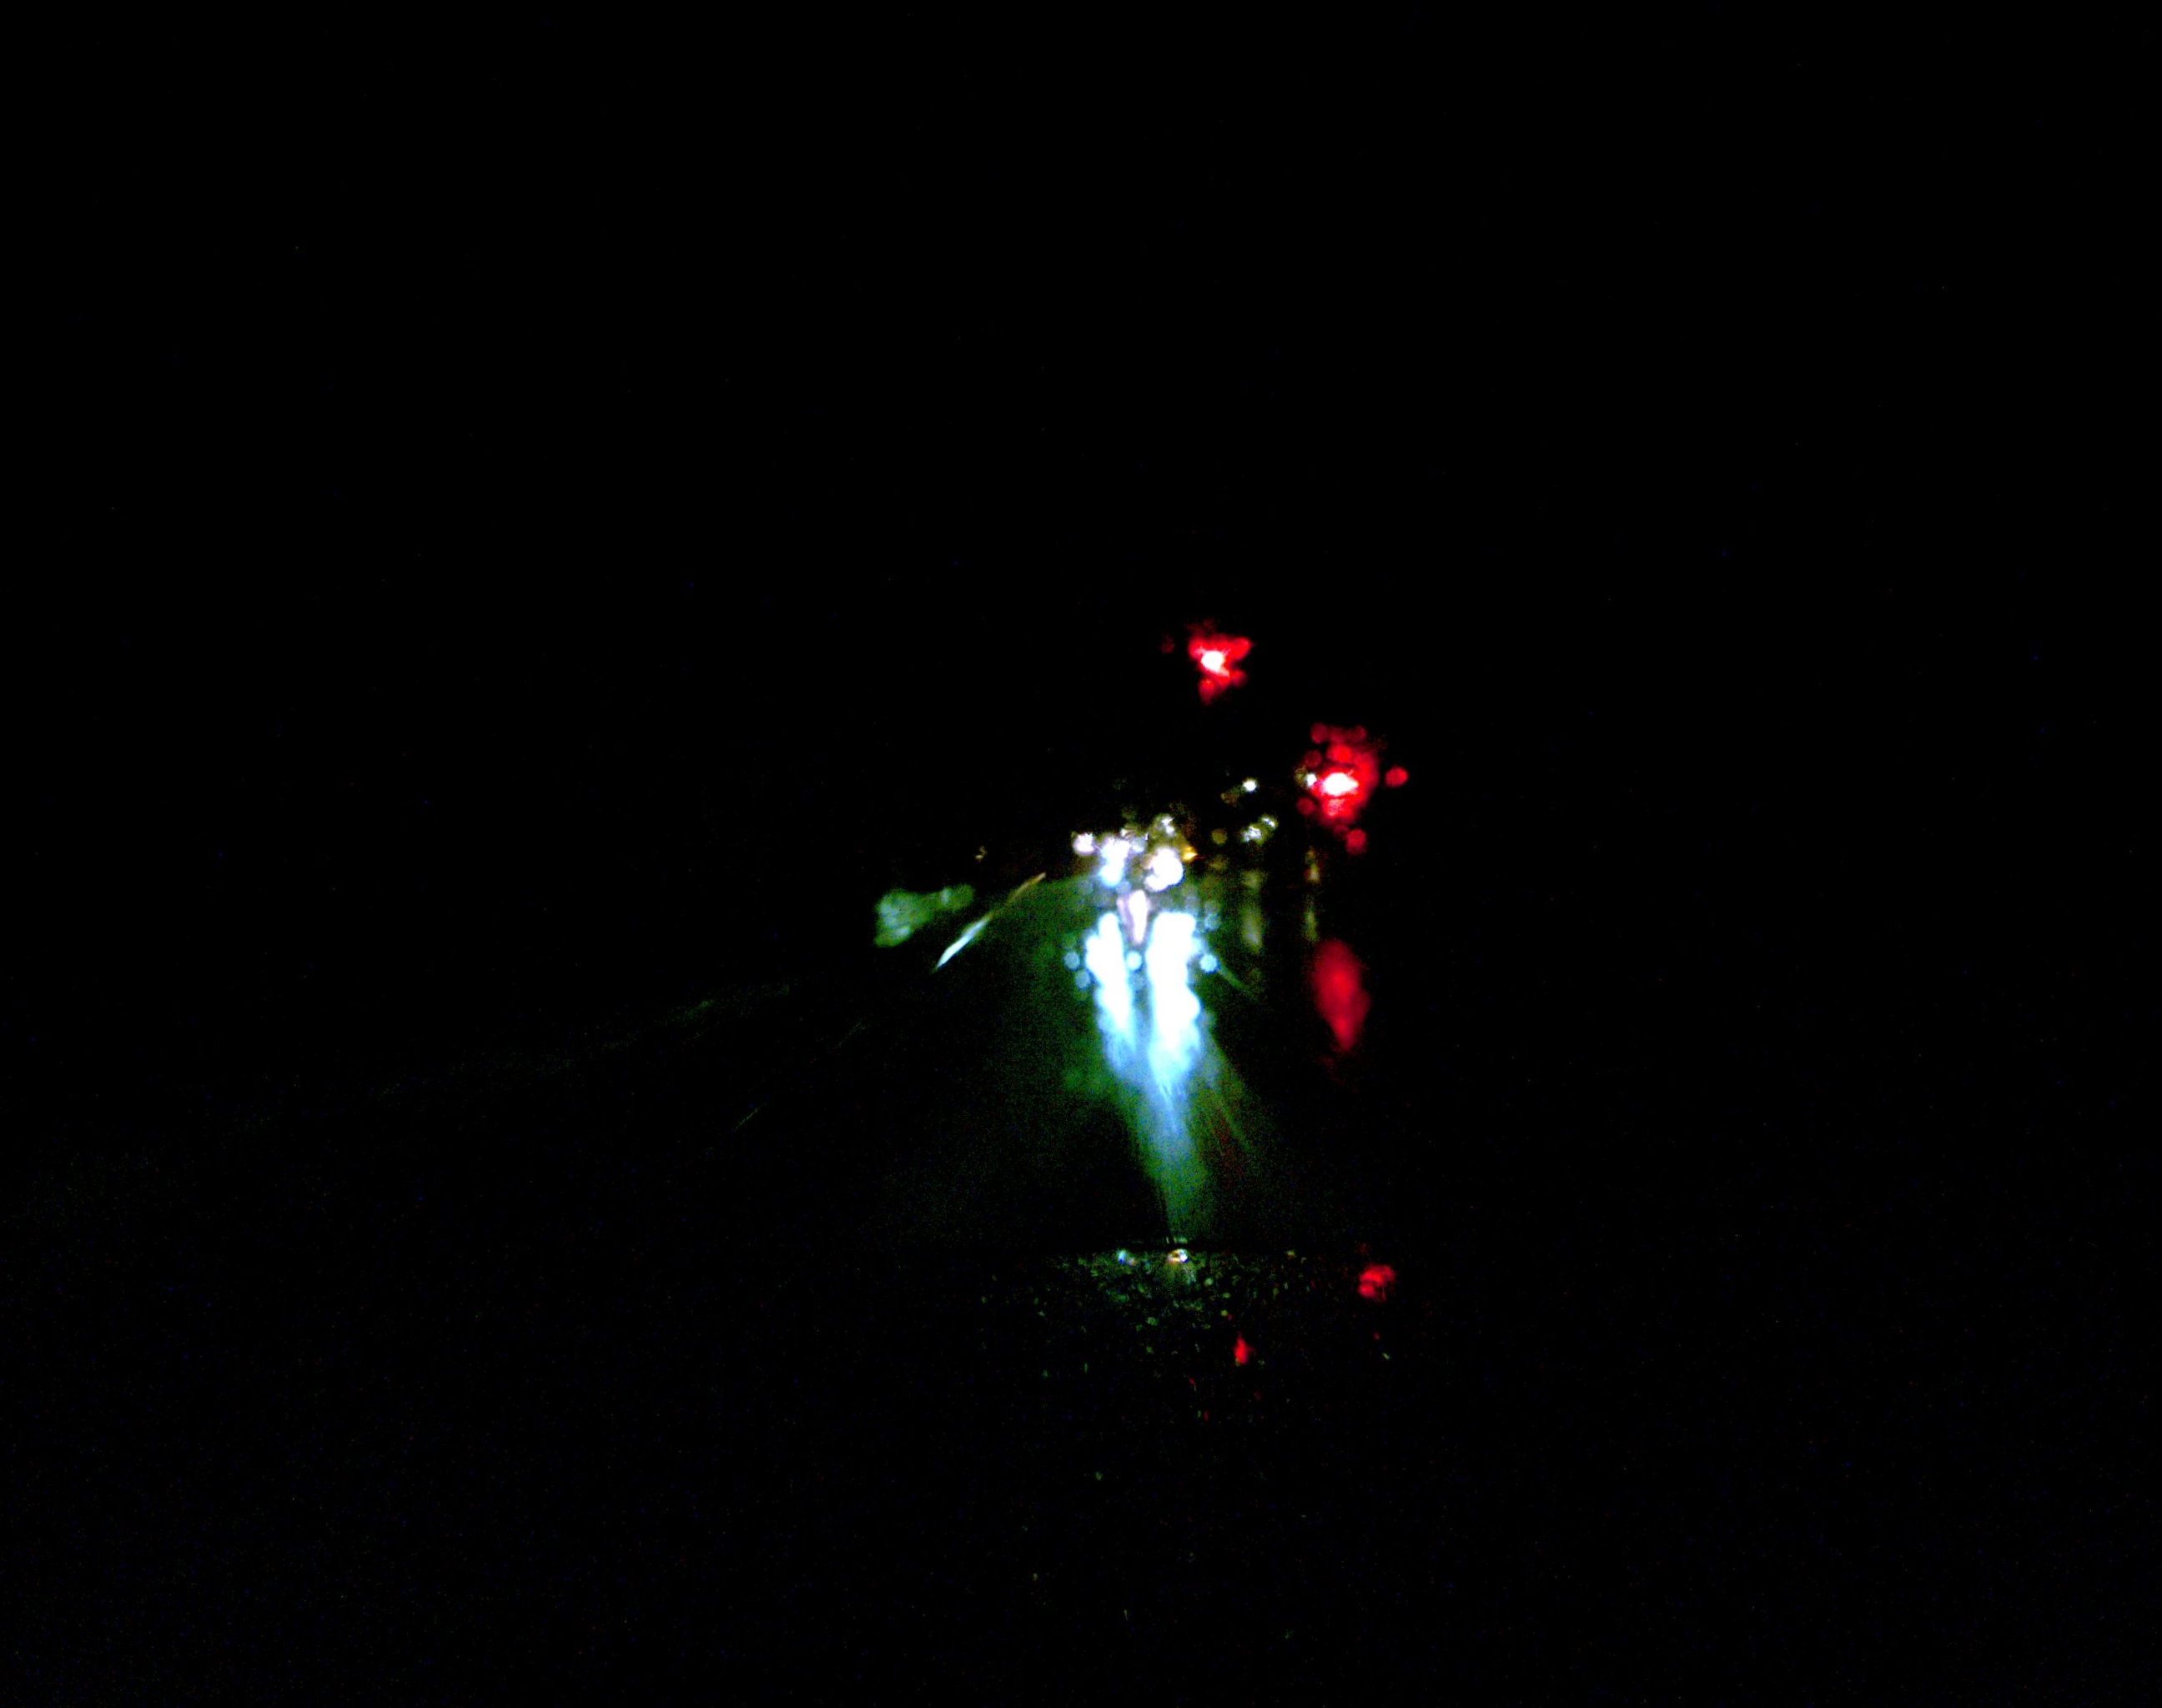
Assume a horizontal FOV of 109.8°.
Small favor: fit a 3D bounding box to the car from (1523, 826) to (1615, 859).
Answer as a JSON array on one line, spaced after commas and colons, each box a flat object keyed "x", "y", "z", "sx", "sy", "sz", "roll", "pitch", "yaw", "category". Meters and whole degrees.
[{"x": 24.880, "y": -0.632, "z": 38.953, "sx": 1.937, "sy": 1.577, "sz": 4.481, "roll": -1, "pitch": 2, "yaw": 2, "category": "car"}]

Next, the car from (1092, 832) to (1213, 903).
[{"x": 2.048, "y": 0.330, "z": 20.513, "sx": 1.890, "sy": 1.678, "sz": 4.346, "roll": -2, "pitch": -1, "yaw": 24, "category": "car"}]

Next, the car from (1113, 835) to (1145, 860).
[{"x": 3.287, "y": -0.424, "z": 52.478, "sx": 1.979, "sy": 1.507, "sz": 4.207, "roll": -2, "pitch": -1, "yaw": 2, "category": "car"}]

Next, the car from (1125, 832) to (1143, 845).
[{"x": 6.291, "y": -1.856, "z": 90.812, "sx": 1.914, "sy": 1.502, "sz": 4.239, "roll": -1, "pitch": 2, "yaw": 0, "category": "car"}]

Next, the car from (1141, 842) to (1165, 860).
[{"x": 6.998, "y": -0.291, "z": 74.238, "sx": 2.062, "sy": 1.668, "sz": 4.139, "roll": -2, "pitch": 1, "yaw": 2, "category": "car"}]

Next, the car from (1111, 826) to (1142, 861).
[{"x": 3.438, "y": -0.774, "z": 58.498, "sx": 2.173, "sy": 2.427, "sz": 4.862, "roll": -2, "pitch": -1, "yaw": 2, "category": "car"}]
